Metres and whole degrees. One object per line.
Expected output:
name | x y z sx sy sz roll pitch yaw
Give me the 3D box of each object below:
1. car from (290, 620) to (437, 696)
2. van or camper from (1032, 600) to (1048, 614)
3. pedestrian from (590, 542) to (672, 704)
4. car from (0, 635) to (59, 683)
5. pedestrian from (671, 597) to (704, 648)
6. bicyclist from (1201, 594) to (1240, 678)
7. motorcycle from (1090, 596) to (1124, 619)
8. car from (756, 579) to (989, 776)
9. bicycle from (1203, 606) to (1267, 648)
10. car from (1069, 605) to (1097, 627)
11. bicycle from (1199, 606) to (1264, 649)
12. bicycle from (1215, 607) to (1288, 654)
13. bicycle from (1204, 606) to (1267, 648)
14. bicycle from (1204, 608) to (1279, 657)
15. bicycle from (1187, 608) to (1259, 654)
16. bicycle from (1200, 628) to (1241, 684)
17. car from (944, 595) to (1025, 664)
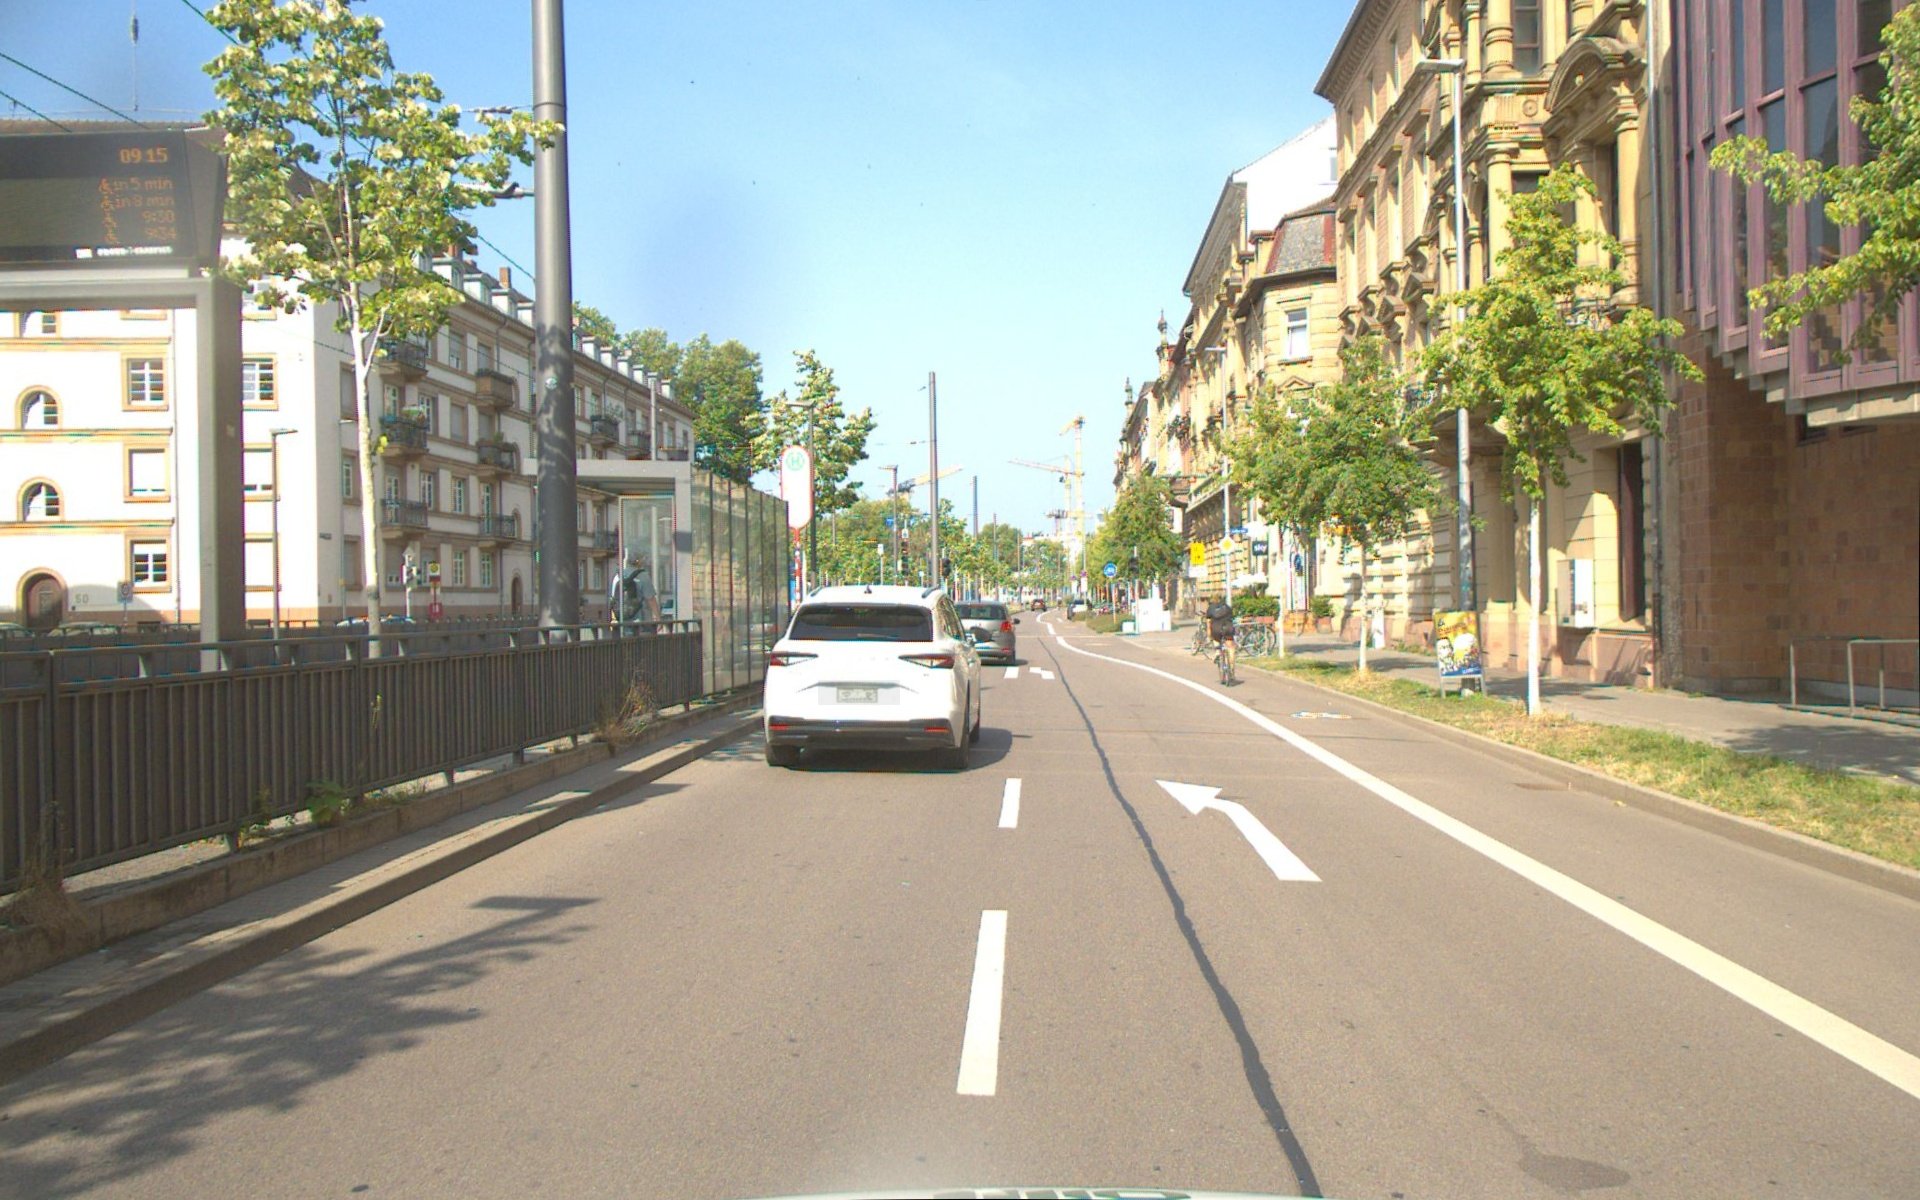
car | -16.014 1.525 44.703 1.951 1.837 4.634 -2 0 4
van or camper | 10.089 0.877 208.477 1.952 1.684 4.001 -1 0 2
pedestrian | -4.301 0.294 21.684 0.816 2.049 1.028 1 -1 -1
car | -31.242 1.918 53.919 1.639 1.430 3.998 -1 0 -3
pedestrian | -10.335 0.831 62.658 1.054 1.900 0.857 -1 -1 -25
bicyclist | 4.788 0.658 30.407 0.571 1.508 0.931 1 0 1
motorcycle | 8.990 0.450 101.112 2.015 1.309 0.698 -3 1 -32
car | -0.687 0.642 15.848 1.779 1.617 4.408 0 0 3
bicycle | 7.844 0.768 47.239 1.715 1.106 0.583 -3 0 6
car | 9.494 1.197 128.132 1.733 1.616 4.247 -2 0 -1
bicycle | 7.536 0.759 45.996 1.718 1.106 0.669 -3 0 8
bicycle | 7.626 0.793 43.297 1.722 1.106 0.657 -4 0 -7
bicycle | 7.952 0.776 47.837 1.715 1.106 0.583 -3 0 6
bicycle | 7.103 0.821 41.751 1.722 1.106 0.610 -4 0 -7
bicycle | 7.066 0.827 44.456 1.730 1.106 0.668 -4 0 -20
bicycle | 4.792 1.018 30.509 0.495 0.970 1.785 1 0 1
car | 0.619 0.649 38.483 1.717 1.510 4.408 0 0 3
